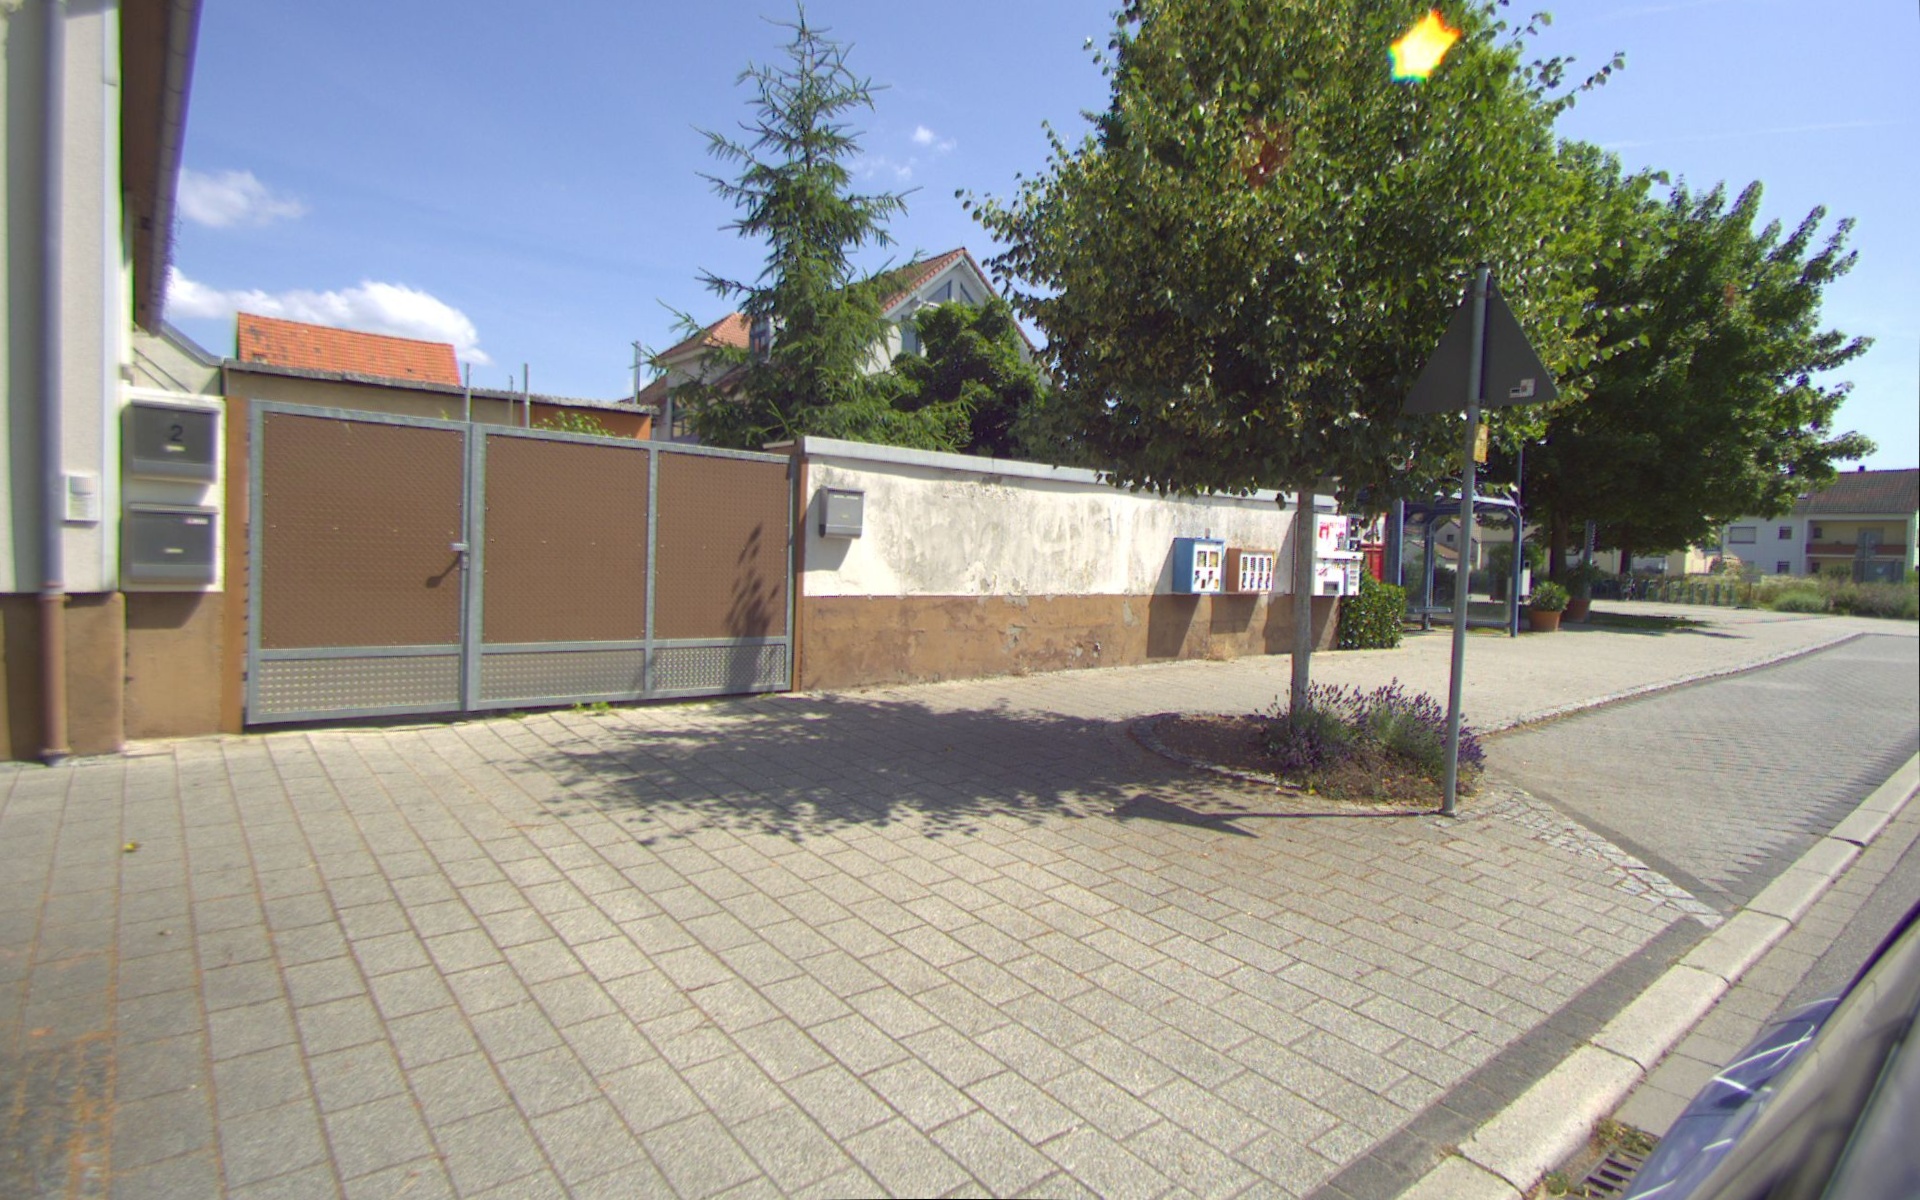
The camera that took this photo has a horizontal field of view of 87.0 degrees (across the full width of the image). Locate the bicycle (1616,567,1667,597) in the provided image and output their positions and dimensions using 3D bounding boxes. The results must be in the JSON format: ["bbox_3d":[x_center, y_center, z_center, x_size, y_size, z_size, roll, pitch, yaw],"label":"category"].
[{"bbox_3d":[26.572,-0.707,39.439,2.583,1.125,0.839,-1,3,-37],"label":"bicycle"}]
